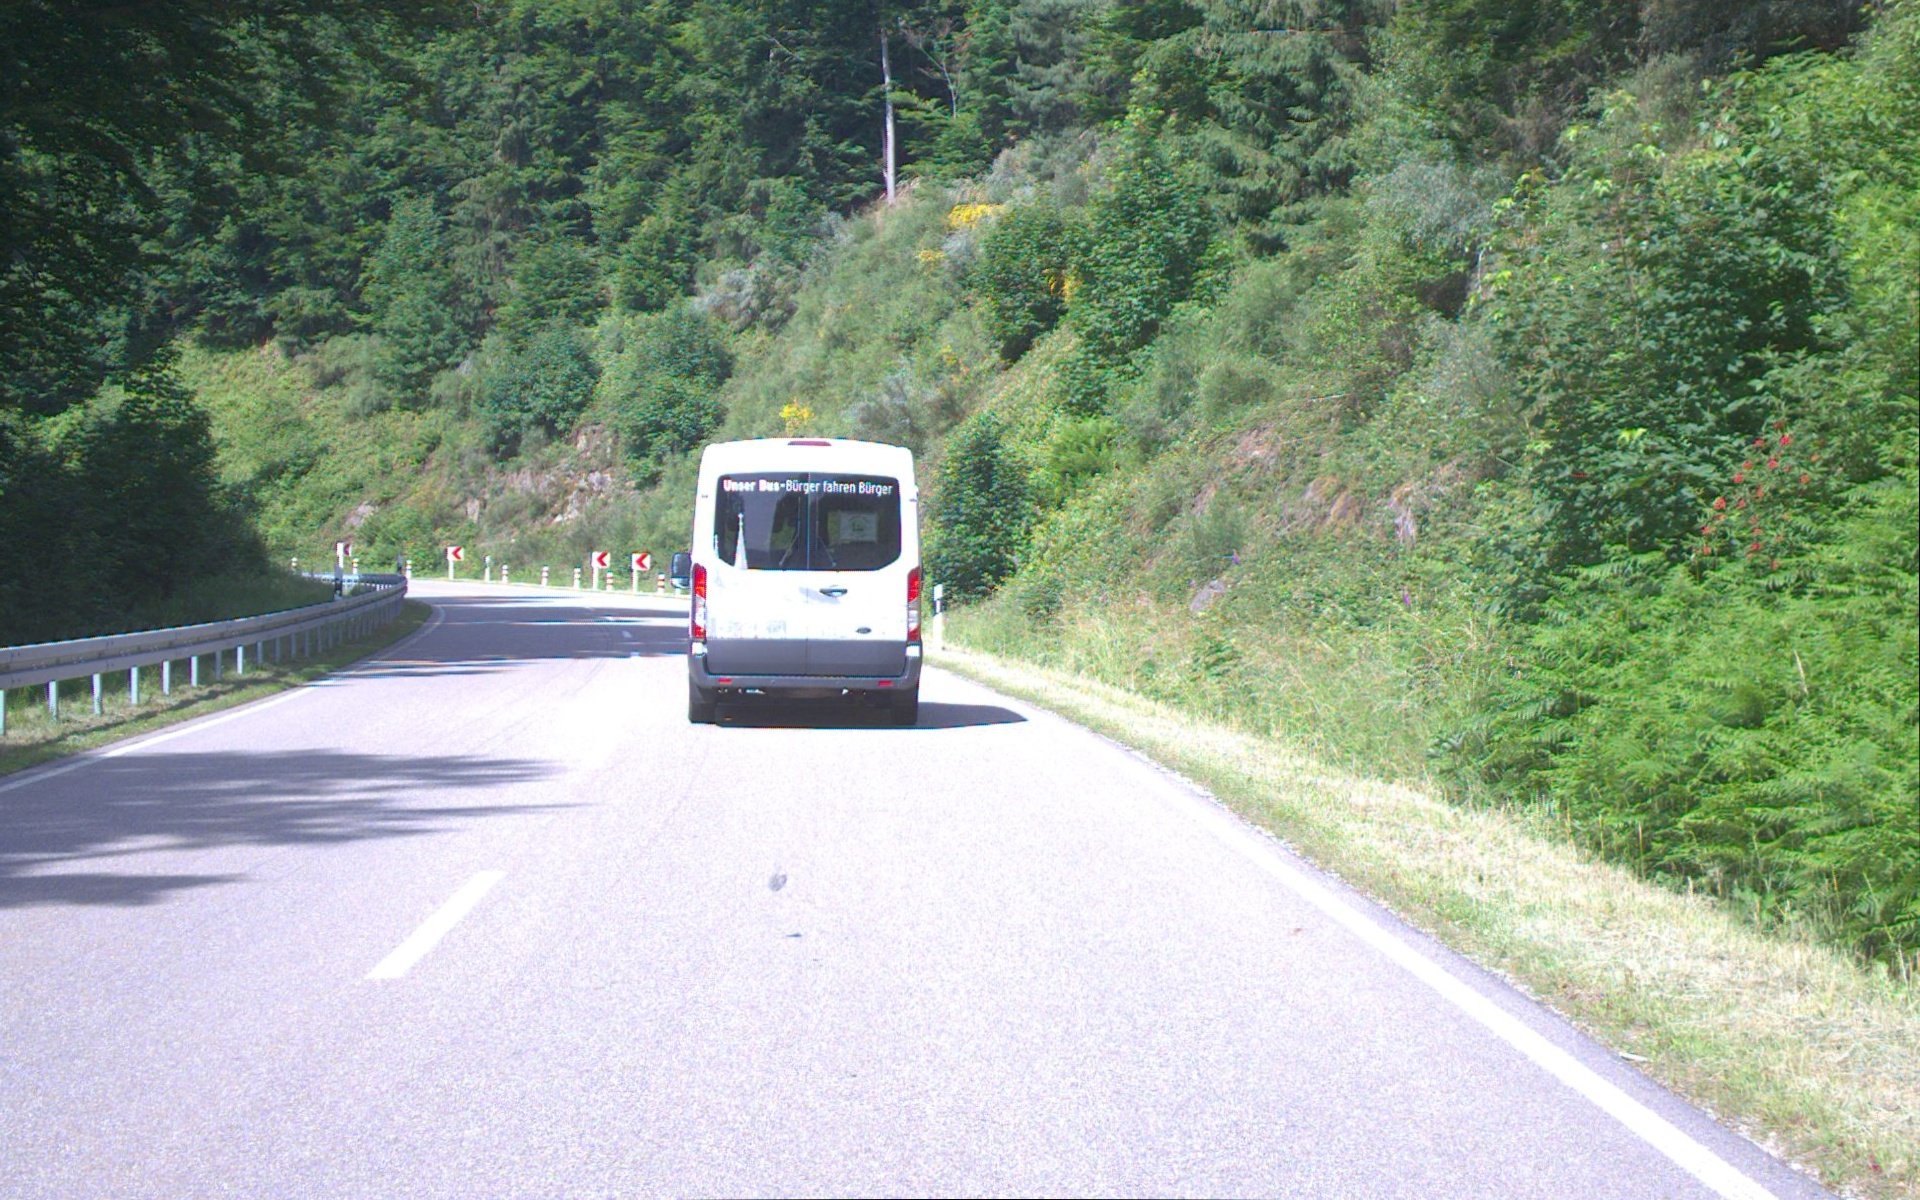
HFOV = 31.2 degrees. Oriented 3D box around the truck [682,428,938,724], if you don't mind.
[{"bbox_3d":[-1.449,-0.219,31.137,2.083,2.451,4.876,1,0,-5],"label":"truck"}]
